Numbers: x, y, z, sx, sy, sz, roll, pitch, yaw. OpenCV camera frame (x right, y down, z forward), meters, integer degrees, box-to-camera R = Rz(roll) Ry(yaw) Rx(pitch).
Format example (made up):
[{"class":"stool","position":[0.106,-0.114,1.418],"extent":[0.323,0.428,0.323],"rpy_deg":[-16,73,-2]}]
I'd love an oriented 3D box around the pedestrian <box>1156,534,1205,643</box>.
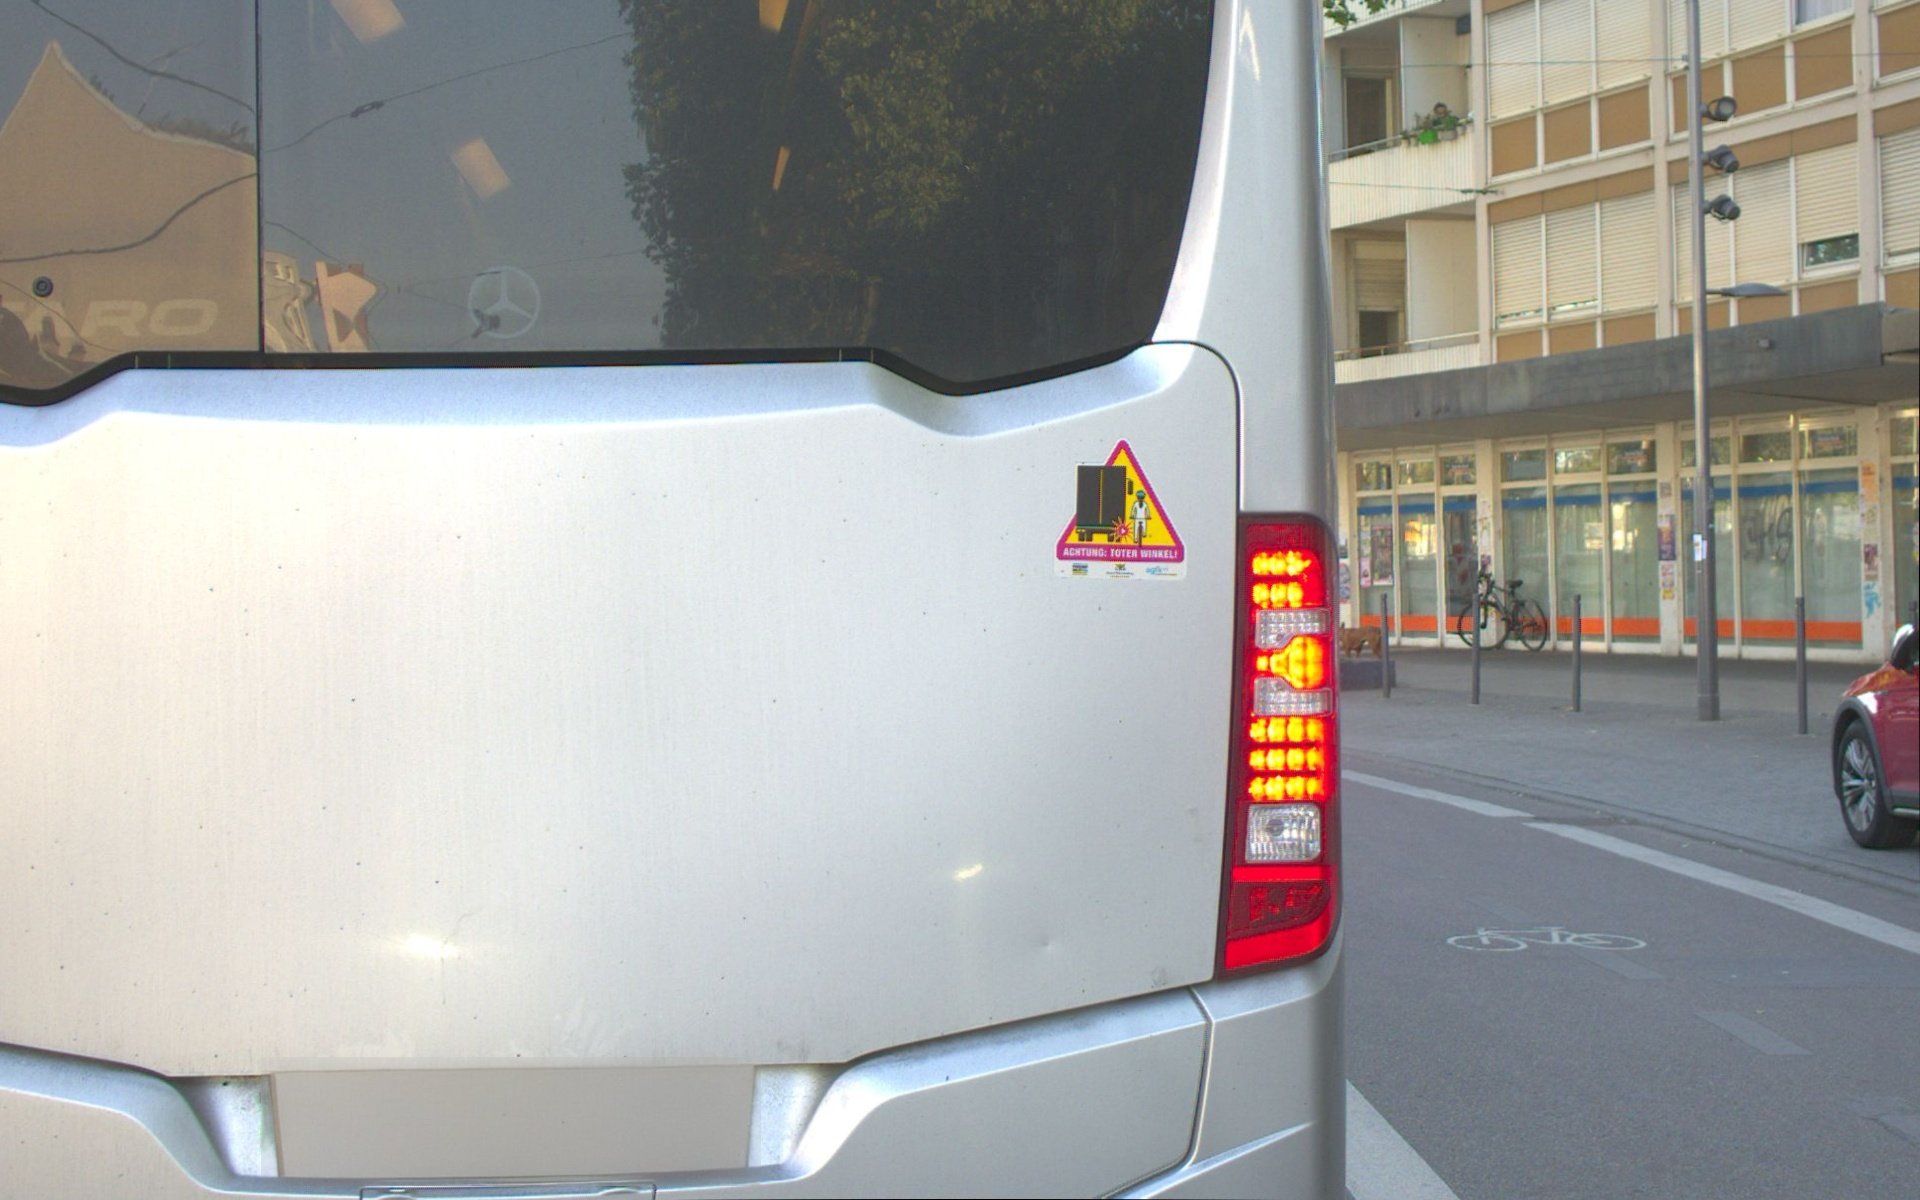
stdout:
[{"class":"pedestrian","position":[3.390,-0.180,52.877],"extent":[0.535,1.643,0.616],"rpy_deg":[-1,1,-17]}]

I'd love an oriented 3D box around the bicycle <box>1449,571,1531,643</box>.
[{"class":"bicycle","position":[7.050,0.089,45.773],"extent":[0.412,0.941,1.441],"rpy_deg":[-1,1,-20]}]

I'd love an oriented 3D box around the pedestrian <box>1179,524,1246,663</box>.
[{"class":"pedestrian","position":[3.136,-0.082,42.736],"extent":[0.645,1.711,0.560],"rpy_deg":[-1,1,-16]}]

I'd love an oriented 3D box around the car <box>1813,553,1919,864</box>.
[{"class":"car","position":[5.520,0.505,15.867],"extent":[1.769,1.477,4.304],"rpy_deg":[-2,1,-4]}]

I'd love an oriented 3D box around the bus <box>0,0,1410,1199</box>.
[{"class":"bus","position":[-0.766,-0.140,9.699],"extent":[2.630,3.017,9.998],"rpy_deg":[0,1,-1]}]

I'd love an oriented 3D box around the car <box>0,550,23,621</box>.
[{"class":"car","position":[-25.876,-0.395,88.217],"extent":[1.994,1.785,3.998],"rpy_deg":[1,0,-41]}]
